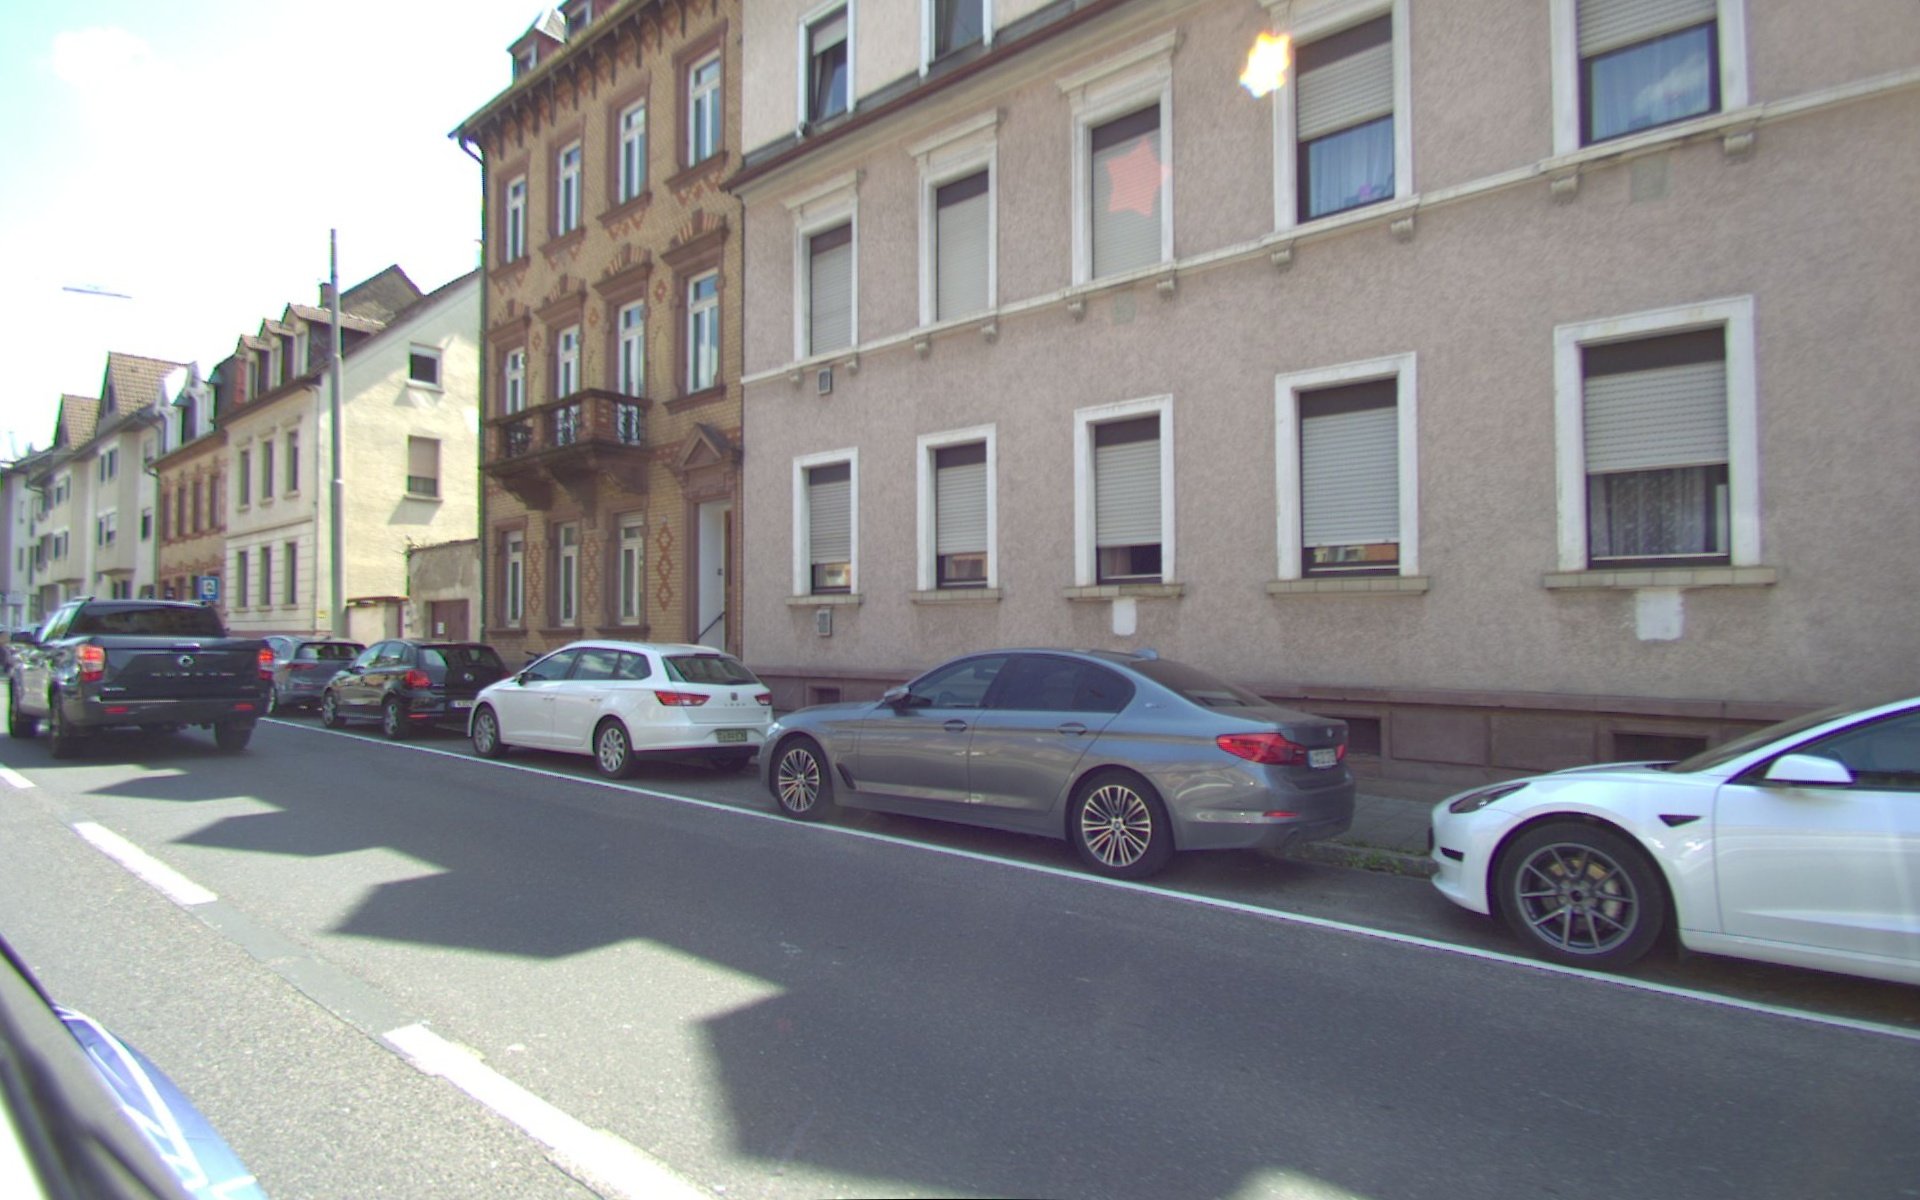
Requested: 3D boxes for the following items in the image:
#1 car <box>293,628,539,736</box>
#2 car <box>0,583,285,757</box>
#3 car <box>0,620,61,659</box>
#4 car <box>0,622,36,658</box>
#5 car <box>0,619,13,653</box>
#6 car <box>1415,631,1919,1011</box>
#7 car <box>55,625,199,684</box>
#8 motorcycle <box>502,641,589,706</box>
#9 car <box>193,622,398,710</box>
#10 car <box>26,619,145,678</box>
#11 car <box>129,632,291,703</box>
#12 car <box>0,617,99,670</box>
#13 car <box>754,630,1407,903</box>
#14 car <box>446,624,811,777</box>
[{"bbox_3d":[-8.617,1.235,15.869,4.499,1.433,1.821,-1,-6,41],"label":"car"},{"bbox_3d":[-10.615,0.803,12.977,5.146,1.806,1.972,-1,-3,41],"label":"car"},{"bbox_3d":[-39.458,1.621,42.379,4.494,1.499,1.823,-1,0,37],"label":"car"},{"bbox_3d":[-43.435,1.782,45.709,4.380,1.499,1.822,-1,0,38],"label":"car"},{"bbox_3d":[-48.155,1.763,49.568,4.378,1.607,1.823,-1,0,37],"label":"car"},{"bbox_3d":[4.607,0.918,4.308,4.555,1.433,1.820,-1,-5,41],"label":"car"},{"bbox_3d":[-22.131,1.417,26.846,4.493,1.433,1.823,-1,-5,36],"label":"car"},{"bbox_3d":[-7.514,1.299,18.305,1.936,1.061,0.705,-1,-1,43],"label":"motorcycle"},{"bbox_3d":[-12.751,1.232,19.325,4.496,1.433,1.822,-1,-6,38],"label":"car"},{"bbox_3d":[-26.303,1.427,30.393,4.497,1.609,1.822,-1,-5,39],"label":"car"},{"bbox_3d":[-17.123,1.493,23.037,4.497,1.433,1.822,-1,-4,39],"label":"car"},{"bbox_3d":[-30.197,1.410,33.416,4.497,1.609,1.822,-1,-4,39],"label":"car"},{"bbox_3d":[0.702,1.001,7.673,4.639,1.433,1.822,-1,-4,38],"label":"car"},{"bbox_3d":[-4.000,1.057,11.870,4.495,1.433,1.822,-1,-4,38],"label":"car"}]
